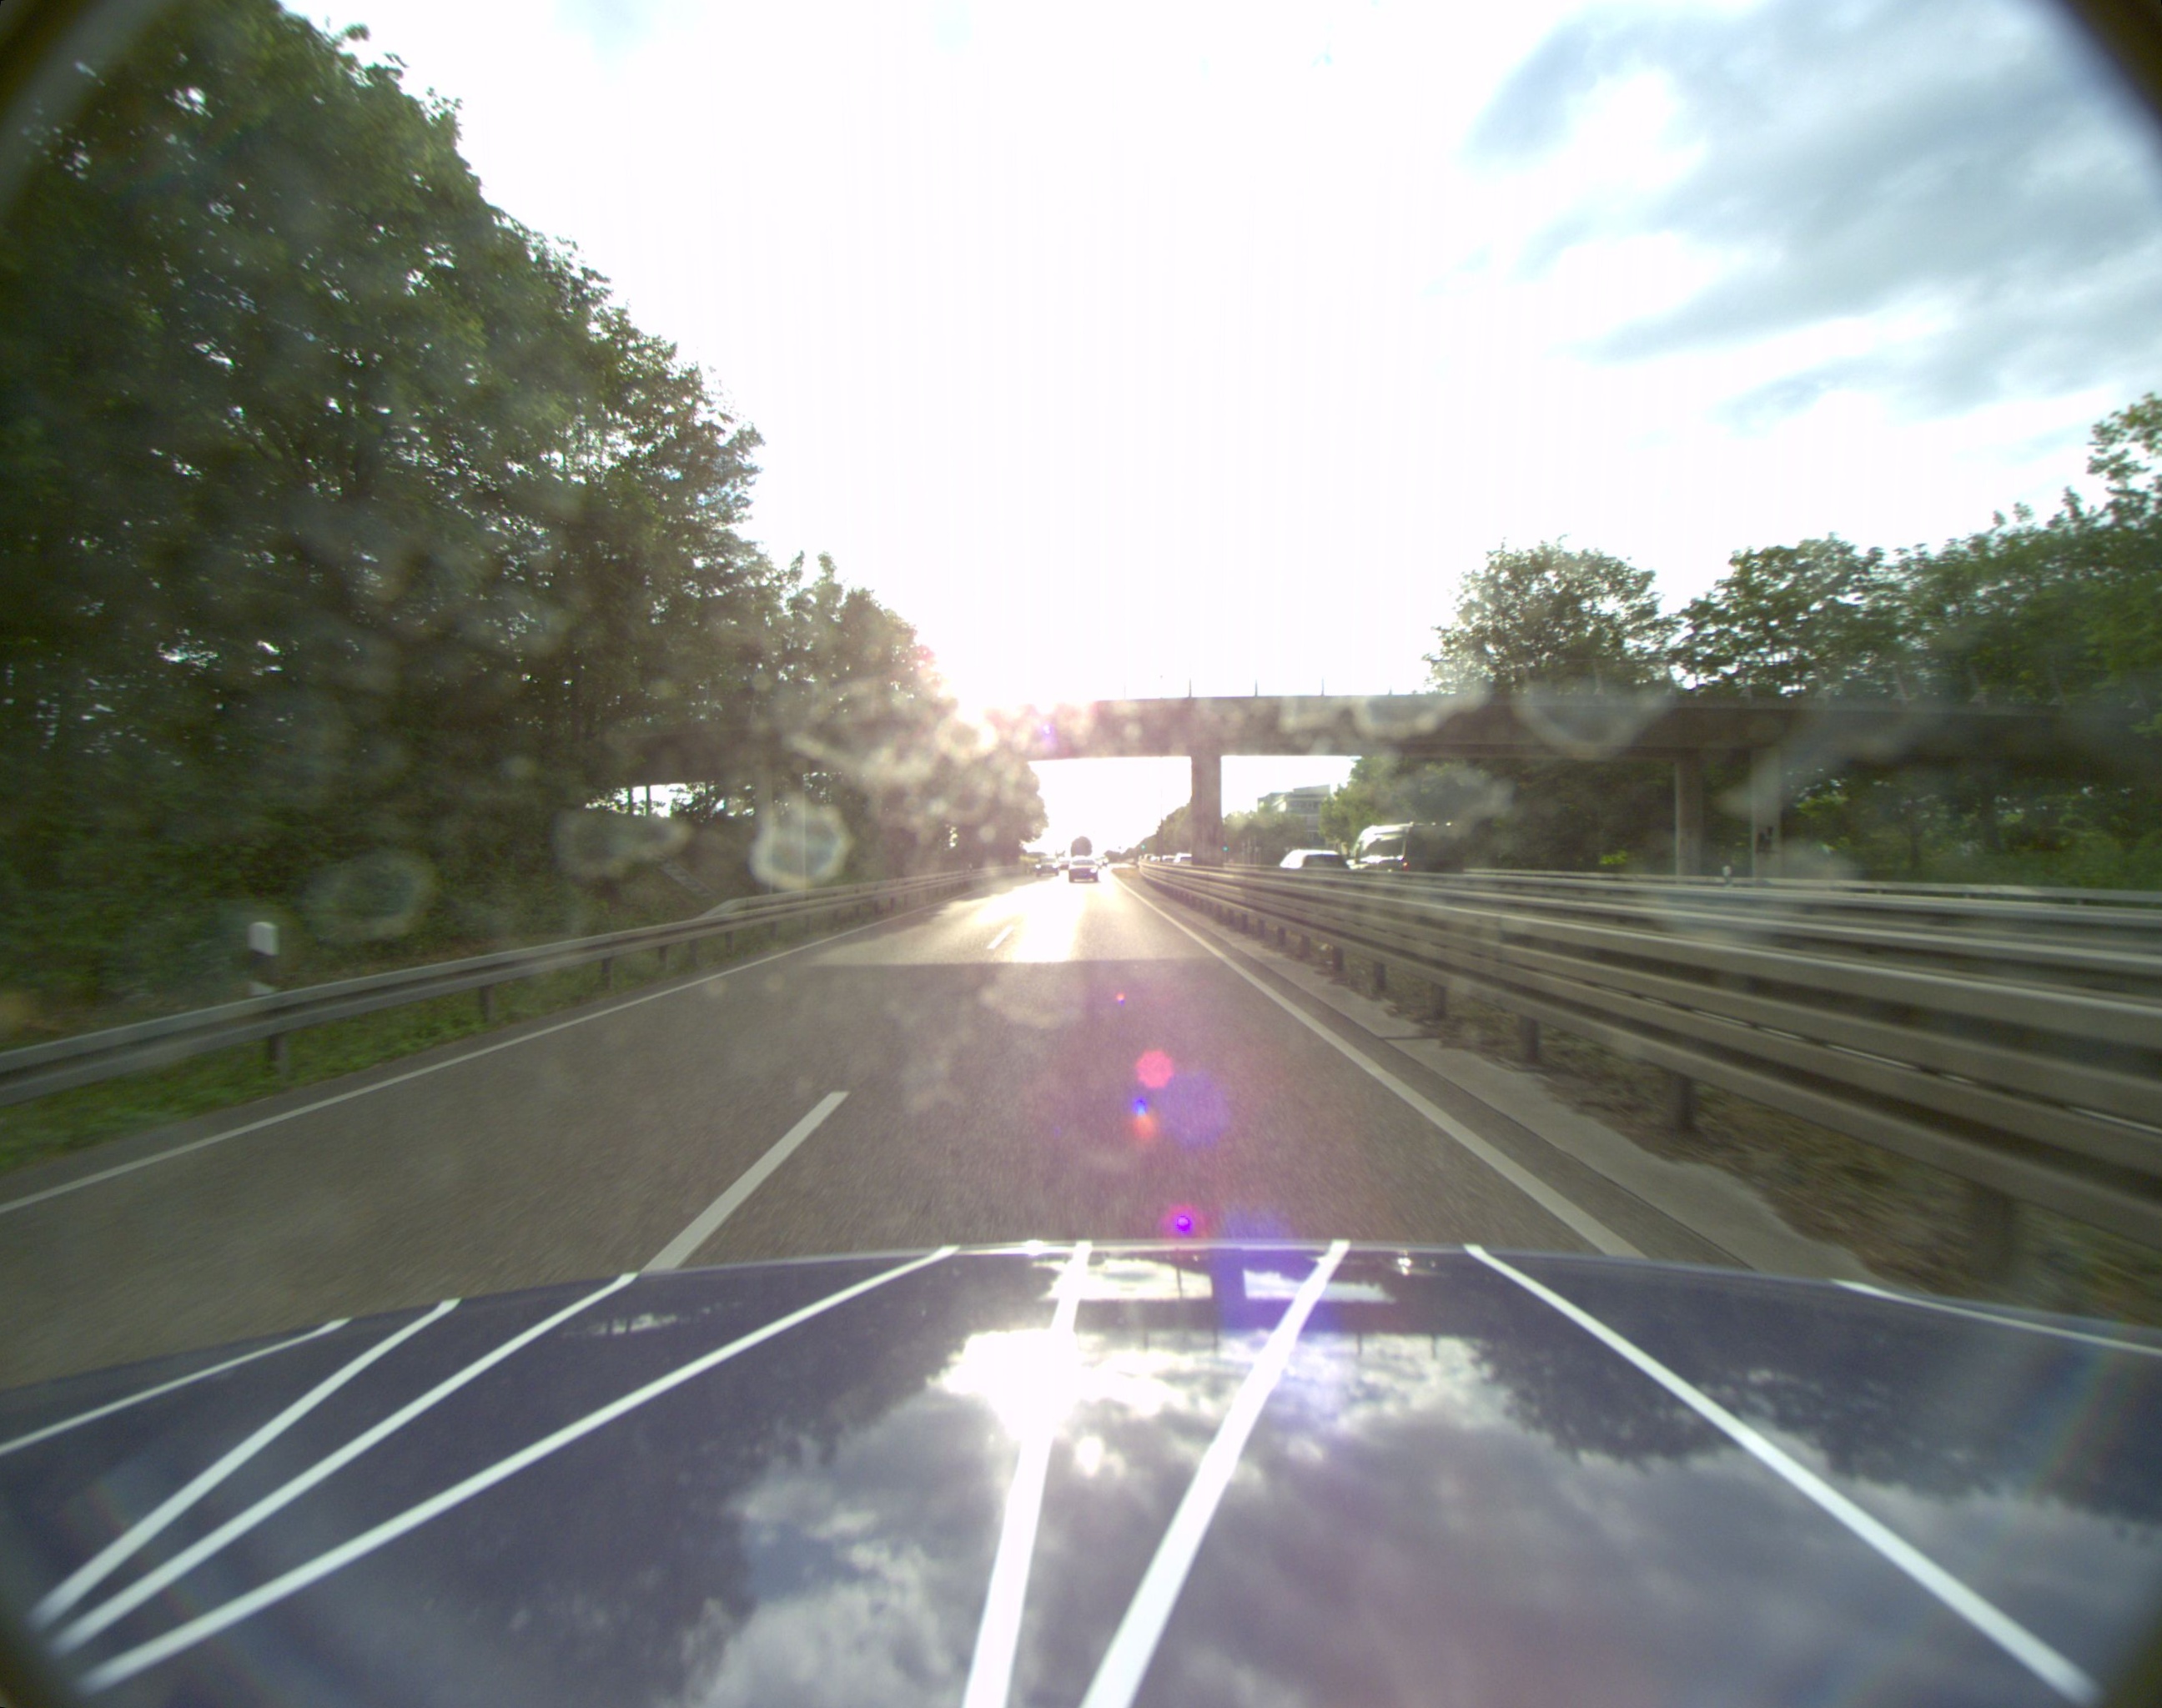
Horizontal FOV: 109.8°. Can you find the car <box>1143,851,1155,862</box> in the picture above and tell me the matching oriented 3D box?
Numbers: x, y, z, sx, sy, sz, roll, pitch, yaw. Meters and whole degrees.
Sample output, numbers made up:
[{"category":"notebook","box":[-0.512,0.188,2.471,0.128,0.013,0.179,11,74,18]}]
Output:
[{"category":"car","box":[11.872,0.408,132.263,1.903,1.905,5.051,-2,0,3]}]

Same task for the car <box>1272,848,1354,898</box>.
[{"category":"car","box":[7.595,0.585,25.191,1.610,1.519,3.640,-1,0,0]}]

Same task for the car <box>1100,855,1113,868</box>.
[{"category":"car","box":[3.570,1.052,105.851,1.786,1.623,3.866,-3,-1,3]}]

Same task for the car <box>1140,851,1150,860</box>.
[{"category":"car","box":[14.939,0.282,177.125,1.939,1.861,5.347,-3,0,2]}]

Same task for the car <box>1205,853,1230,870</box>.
[{"category":"car","box":[13.295,0.712,74.279,1.839,1.527,4.397,2,0,3]}]

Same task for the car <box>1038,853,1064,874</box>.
[{"category":"car","box":[-2.504,0.767,64.297,1.723,1.657,4.420,-2,0,2]}]

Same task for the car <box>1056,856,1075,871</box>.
[{"category":"car","box":[-1.703,1.028,83.342,1.668,1.467,3.867,-2,0,4]}]

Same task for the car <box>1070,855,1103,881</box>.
[{"category":"car","box":[0.387,0.814,45.849,1.723,1.467,3.729,-2,0,4]}]

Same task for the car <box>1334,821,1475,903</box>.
[{"category":"car","box":[11.351,0.245,27.417,2.255,2.522,6.941,-1,0,2]}]

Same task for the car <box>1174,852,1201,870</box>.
[{"category":"car","box":[9.537,0.610,68.499,1.827,1.575,4.791,-1,0,2]}]

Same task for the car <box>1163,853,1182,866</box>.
[{"category":"car","box":[10.527,0.649,87.458,1.722,1.458,3.734,-1,0,1]}]

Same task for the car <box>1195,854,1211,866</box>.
[{"category":"car","box":[14.633,0.711,91.266,1.433,1.345,3.310,0,0,0]}]

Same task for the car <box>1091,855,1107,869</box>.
[{"category":"car","box":[2.071,0.948,87.523,1.723,1.493,4.420,-2,-1,3]}]
